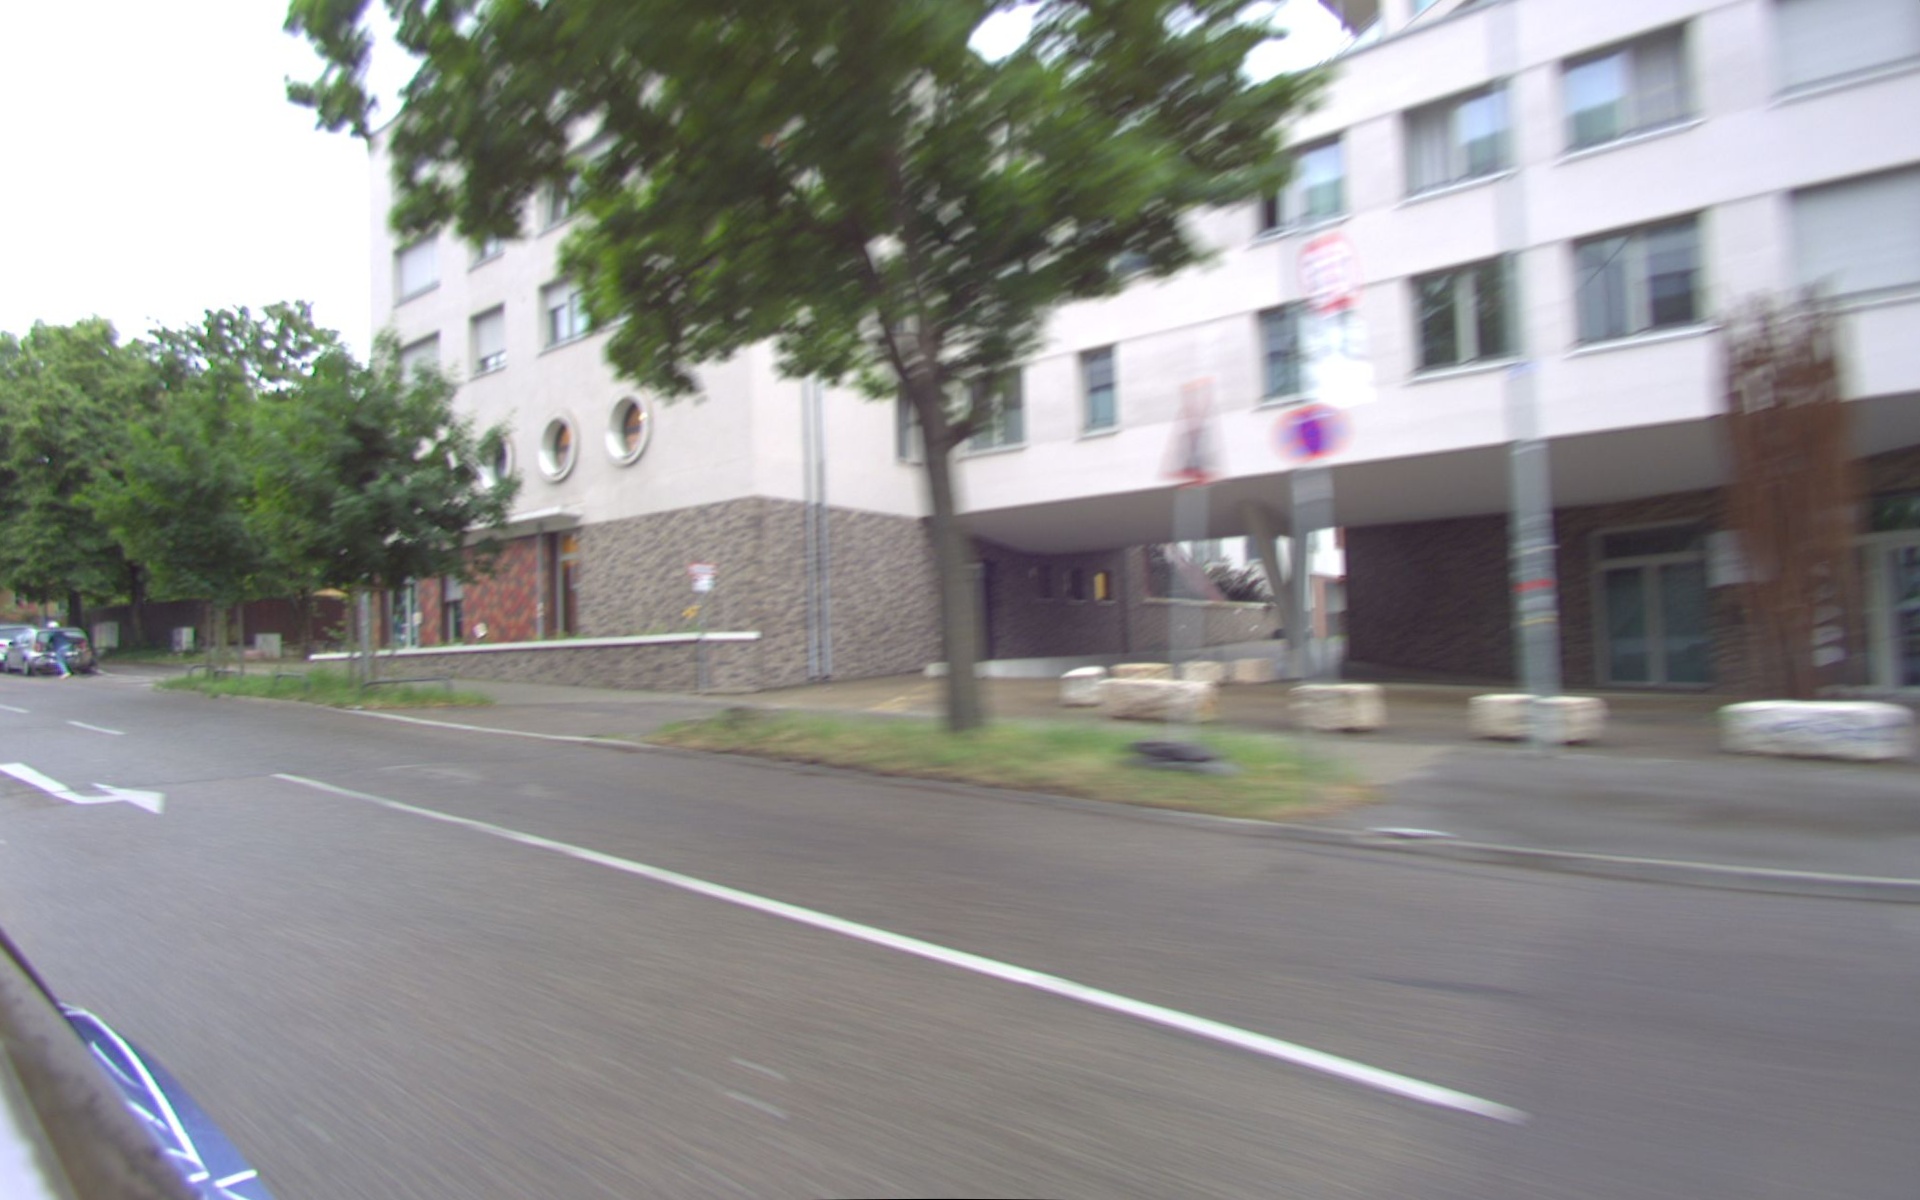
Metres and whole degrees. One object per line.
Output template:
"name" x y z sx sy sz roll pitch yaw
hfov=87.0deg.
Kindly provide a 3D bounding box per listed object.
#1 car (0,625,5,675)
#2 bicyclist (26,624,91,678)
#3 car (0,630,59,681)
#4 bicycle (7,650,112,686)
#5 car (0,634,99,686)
"car" -37.525 1.845 37.628 5.399 1.800 1.976 -1 -1 36
"bicyclist" -26.402 1.486 29.669 1.183 1.534 0.805 -1 -1 -7
"car" -32.813 1.866 34.663 4.479 1.605 1.973 -1 -1 35
"bicycle" -26.364 1.985 29.662 2.218 0.986 0.806 -1 -1 -9
"car" -29.045 1.840 32.027 3.839 1.474 1.863 -1 -1 35
